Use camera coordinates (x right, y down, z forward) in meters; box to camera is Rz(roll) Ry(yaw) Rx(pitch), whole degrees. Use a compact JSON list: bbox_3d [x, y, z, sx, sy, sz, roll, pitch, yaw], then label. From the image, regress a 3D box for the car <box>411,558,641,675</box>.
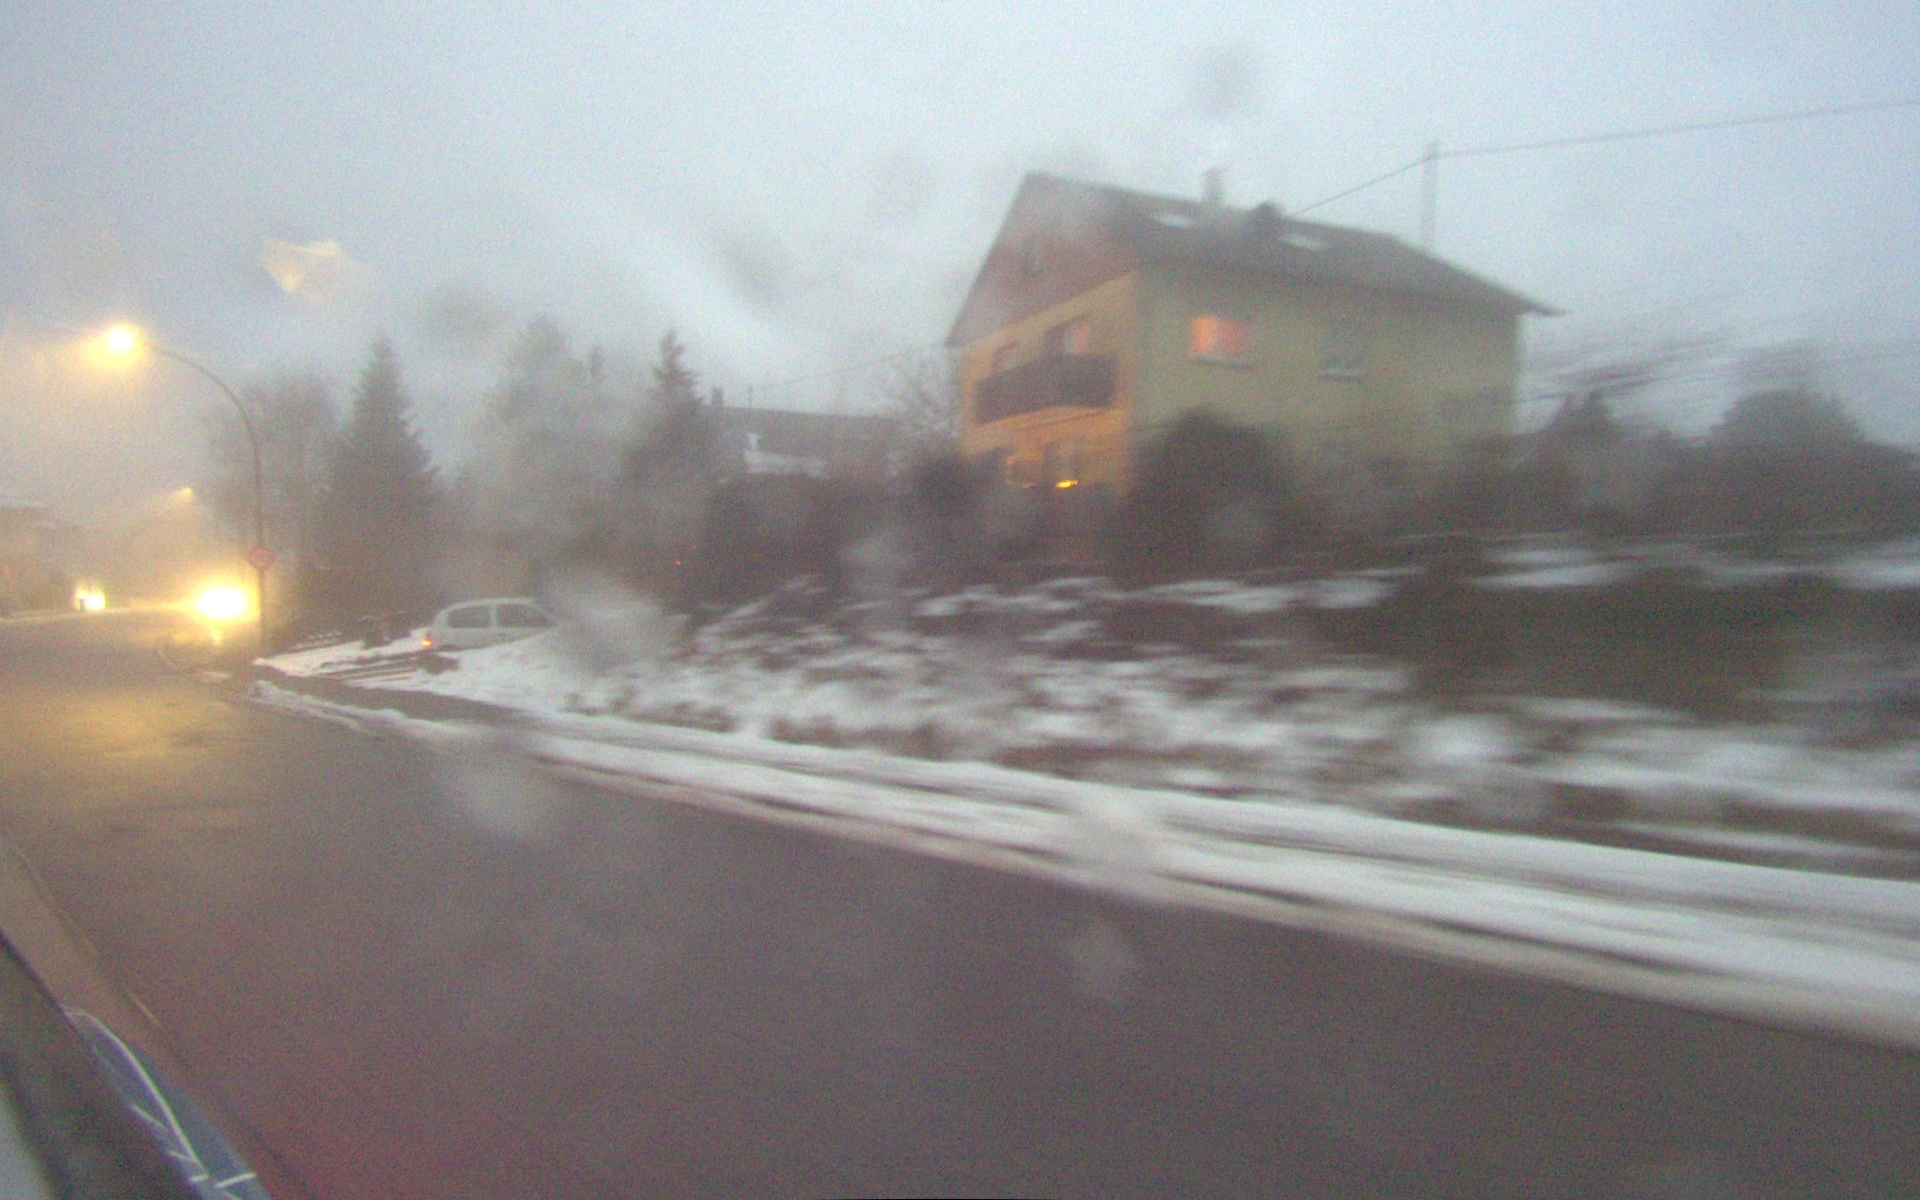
[{"bbox_3d":[-8.773,0.260,20.842,3.936,1.619,1.910,-9,7,-14],"label":"car"}]
